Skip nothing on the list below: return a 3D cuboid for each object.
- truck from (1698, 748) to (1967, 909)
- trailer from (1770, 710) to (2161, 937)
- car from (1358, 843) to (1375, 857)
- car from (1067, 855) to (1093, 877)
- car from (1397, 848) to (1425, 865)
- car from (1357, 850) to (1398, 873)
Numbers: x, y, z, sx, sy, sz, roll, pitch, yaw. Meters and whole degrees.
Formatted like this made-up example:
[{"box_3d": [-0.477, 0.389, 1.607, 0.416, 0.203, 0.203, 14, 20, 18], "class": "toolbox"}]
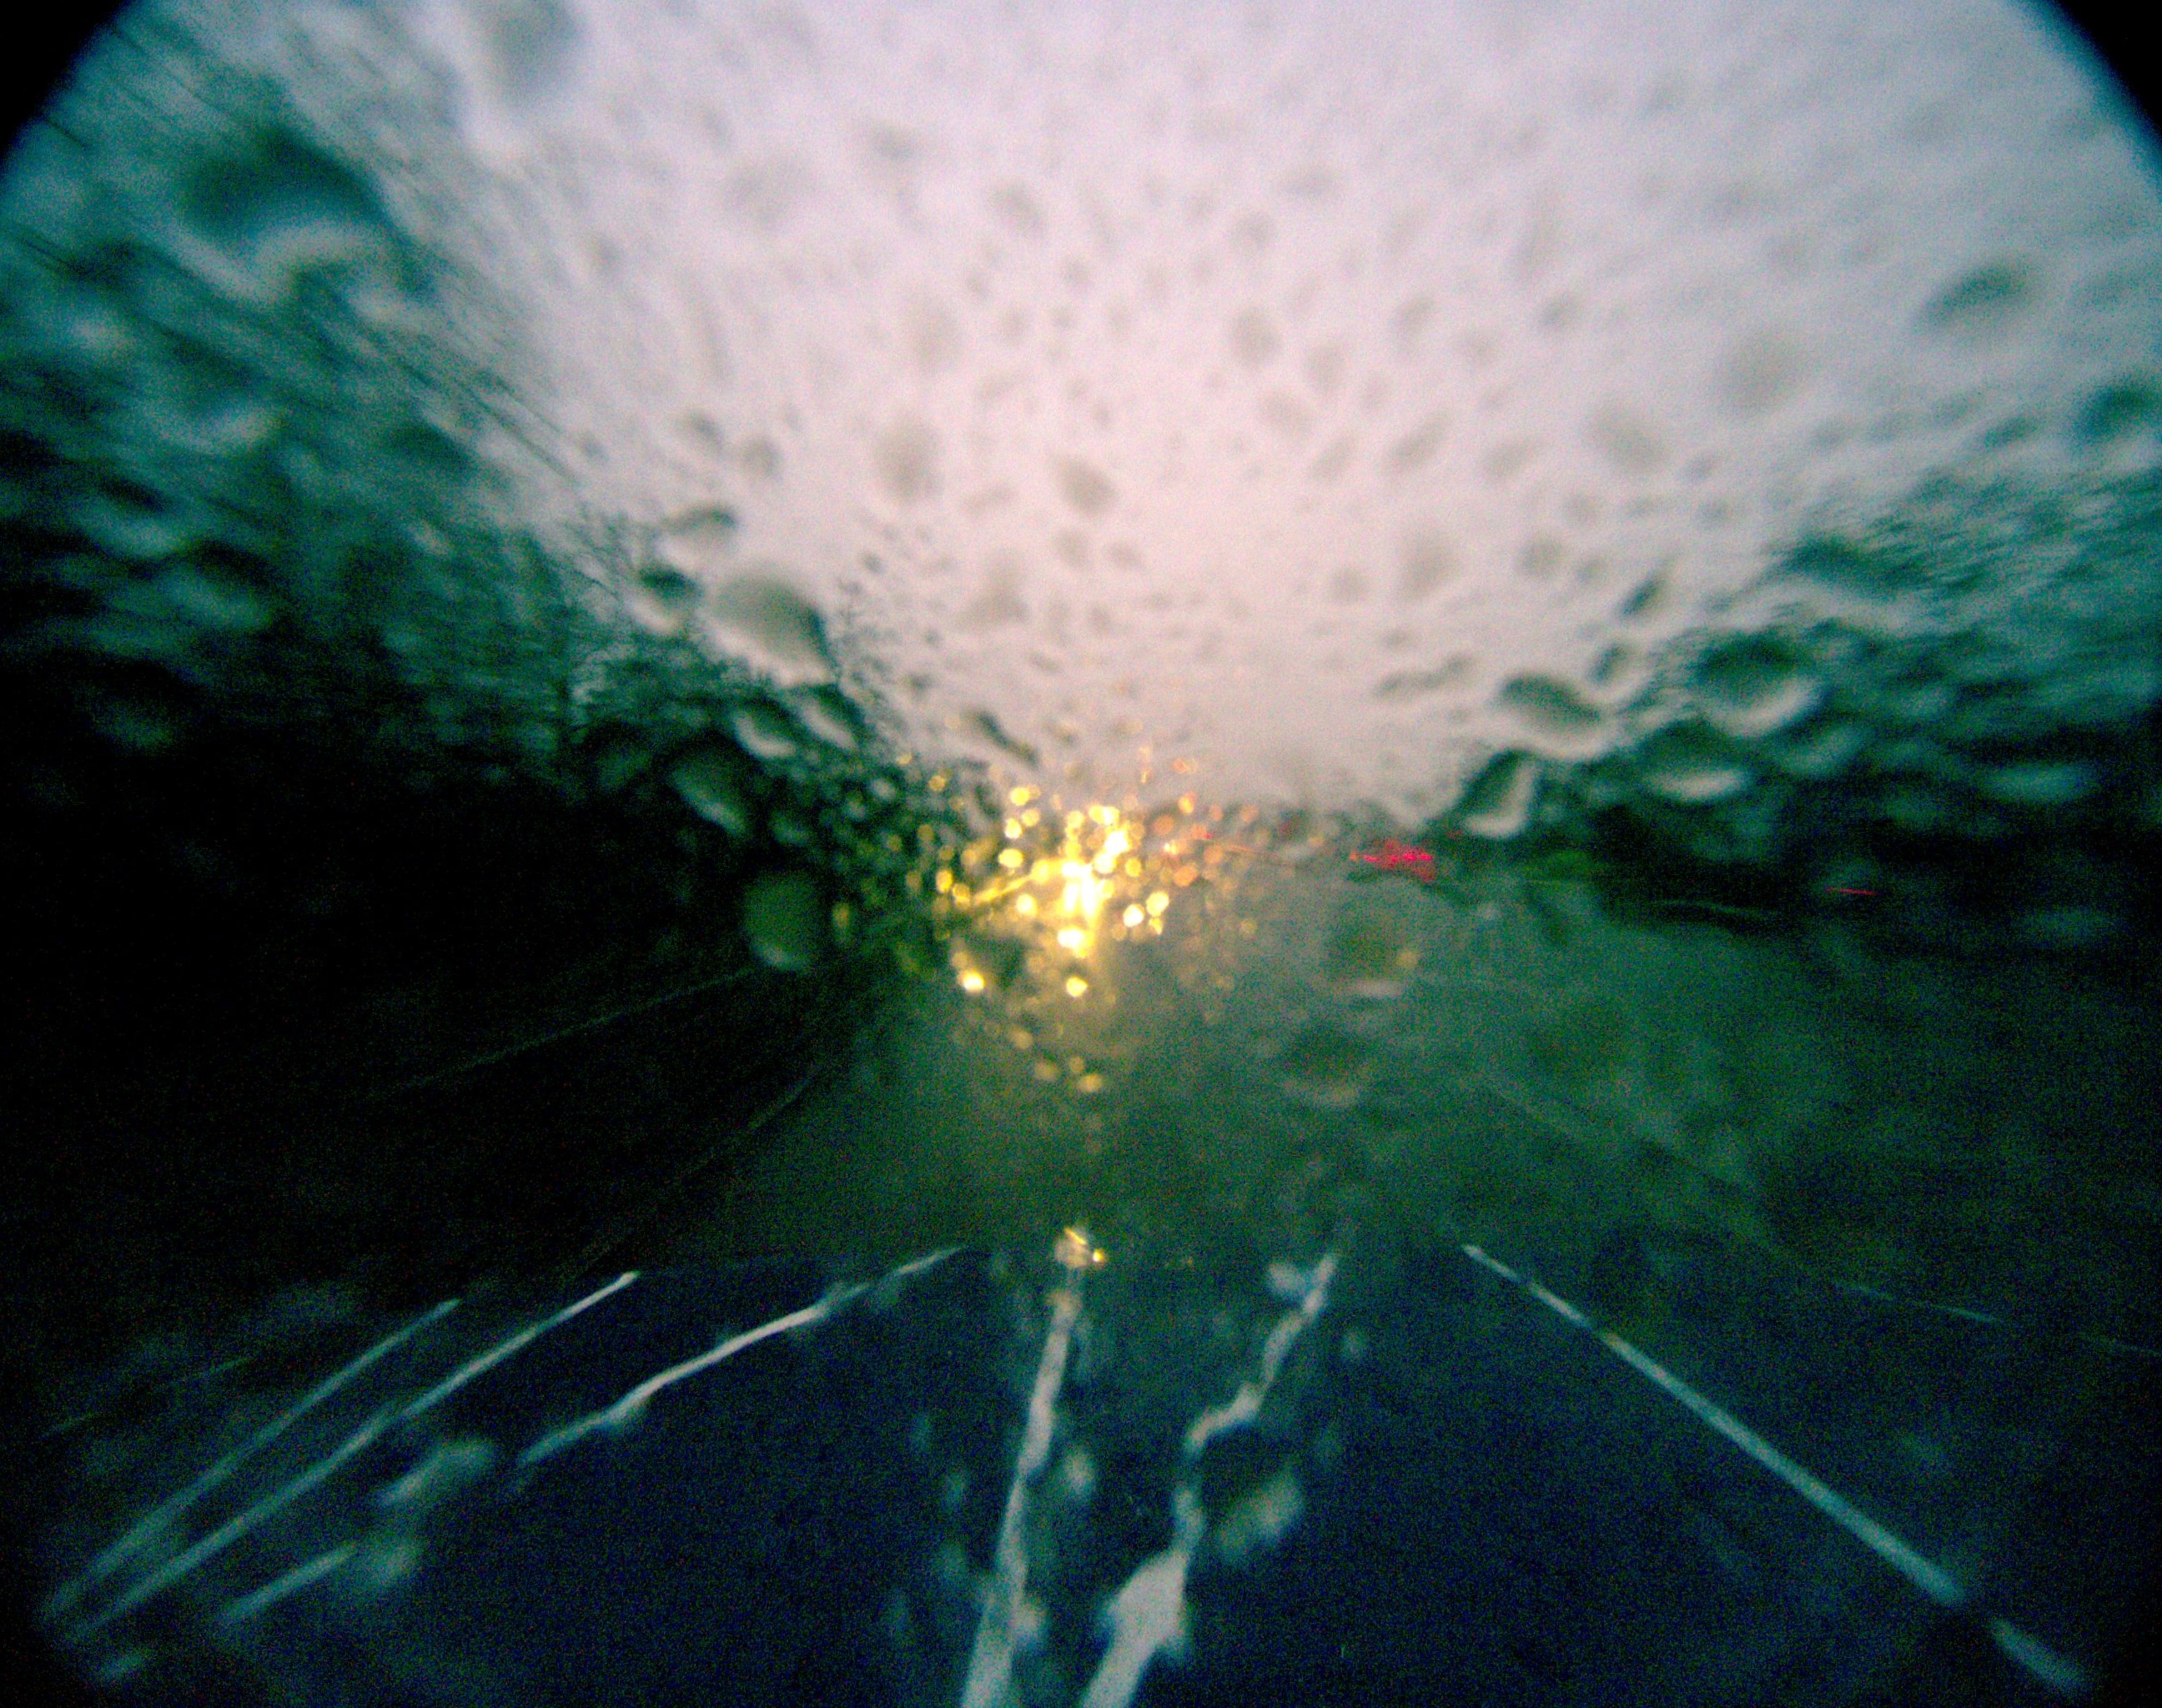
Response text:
[{"box_3d": [25.662, -0.784, 26.502, 3.497, 4.819, 6.033, -3, 0, 5], "class": "truck"}, {"box_3d": [25.044, -0.741, 19.370, 3.497, 4.819, 13.484, -3, 0, 5], "class": "trailer"}, {"box_3d": [40.949, -0.564, 109.159, 1.915, 2.002, 4.004, -2, 0, 15], "class": "car"}, {"box_3d": [-0.053, 0.900, 57.835, 1.841, 1.553, 3.867, -3, 0, 0], "class": "car"}, {"box_3d": [31.599, 0.221, 72.846, 1.461, 1.556, 3.652, -1, 0, 6], "class": "car"}, {"box_3d": [21.486, 0.505, 55.243, 1.704, 1.555, 4.043, -2, 0, 6], "class": "car"}]
